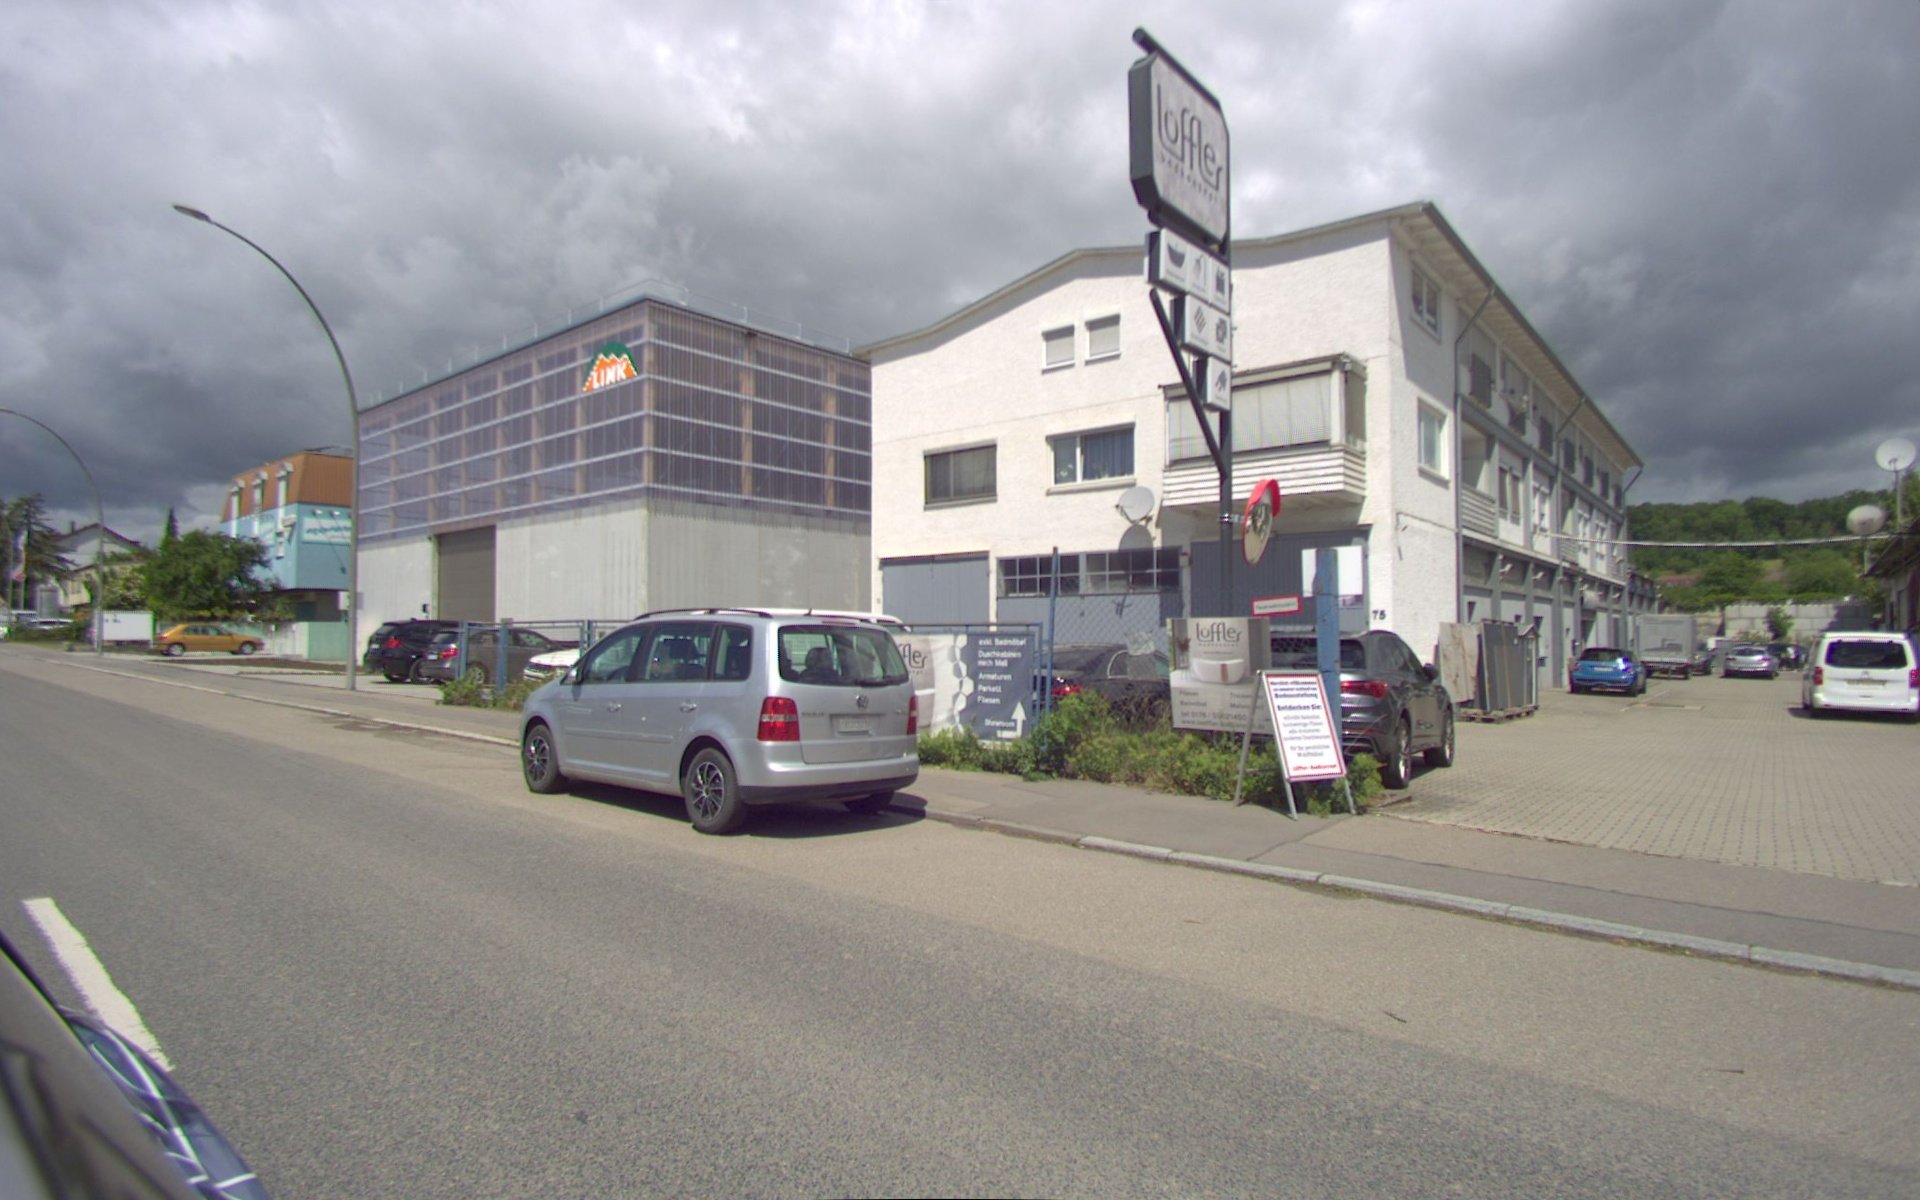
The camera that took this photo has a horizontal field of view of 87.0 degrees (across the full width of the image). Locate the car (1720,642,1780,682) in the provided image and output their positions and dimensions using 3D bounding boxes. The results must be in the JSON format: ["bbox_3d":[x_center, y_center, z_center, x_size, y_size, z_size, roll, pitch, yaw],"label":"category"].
[{"bbox_3d":[35.167,2.733,45.072,1.997,1.683,3.948,-1,-3,38],"label":"car"}]

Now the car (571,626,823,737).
[{"bbox_3d":[-4.615,1.387,18.179,1.999,1.762,3.945,-2,-3,41],"label":"car"}]

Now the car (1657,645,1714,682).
[{"bbox_3d":[33.285,2.881,46.414,1.947,1.585,3.948,-1,-3,38],"label":"car"}]

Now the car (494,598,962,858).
[{"bbox_3d":[-2.133,0.926,8.657,4.125,1.689,1.785,-2,-5,41],"label":"car"}]

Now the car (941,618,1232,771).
[{"bbox_3d":[1.810,1.137,13.363,2.101,1.683,3.948,-1,-3,38],"label":"car"}]

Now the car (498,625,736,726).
[{"bbox_3d":[-6.628,1.413,19.845,1.999,1.762,3.945,-2,-3,41],"label":"car"}]

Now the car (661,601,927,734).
[{"bbox_3d":[-2.611,1.064,16.637,1.999,1.891,3.945,-2,-3,41],"label":"car"}]

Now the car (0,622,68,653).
[{"bbox_3d":[-61.389,2.473,66.559,3.940,2.029,2.001,3,-4,-44],"label":"car"}]

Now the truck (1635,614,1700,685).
[{"bbox_3d":[30.093,2.093,42.996,2.087,2.848,3.950,-1,-3,37],"label":"truck"}]

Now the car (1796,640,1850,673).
[{"bbox_3d":[46.257,2.984,54.316,1.997,1.667,3.949,-1,-2,38],"label":"car"}]

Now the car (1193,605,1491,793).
[{"bbox_3d":[4.423,0.966,11.344,1.997,1.683,4.118,-1,-2,38],"label":"car"}]

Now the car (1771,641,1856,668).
[{"bbox_3d":[53.692,3.388,63.781,3.995,1.527,1.974,-1,0,38],"label":"car"}]

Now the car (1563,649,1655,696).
[{"bbox_3d":[19.915,2.169,30.993,1.997,1.306,3.948,-1,-3,38],"label":"car"}]

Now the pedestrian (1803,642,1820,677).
[{"bbox_3d":[49.909,3.459,59.331,0.732,2.029,0.737,-2,-3,41],"label":"pedestrian"}]

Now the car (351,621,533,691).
[{"bbox_3d":[-14.162,1.517,27.813,1.999,1.750,3.945,0,-3,41],"label":"car"}]

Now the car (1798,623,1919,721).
[{"bbox_3d":[20.781,1.600,23.237,1.995,2.042,4.087,-1,-3,35],"label":"car"}]

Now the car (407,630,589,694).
[{"bbox_3d":[-11.917,1.599,26.288,1.775,1.513,3.905,-3,-4,39],"label":"car"}]

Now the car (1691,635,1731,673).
[{"bbox_3d":[41.959,3.021,56.522,1.706,2.029,3.950,-1,-3,37],"label":"car"}]

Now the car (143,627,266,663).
[{"bbox_3d":[-32.908,1.977,44.153,1.674,1.505,3.995,-1,-3,40],"label":"car"}]
